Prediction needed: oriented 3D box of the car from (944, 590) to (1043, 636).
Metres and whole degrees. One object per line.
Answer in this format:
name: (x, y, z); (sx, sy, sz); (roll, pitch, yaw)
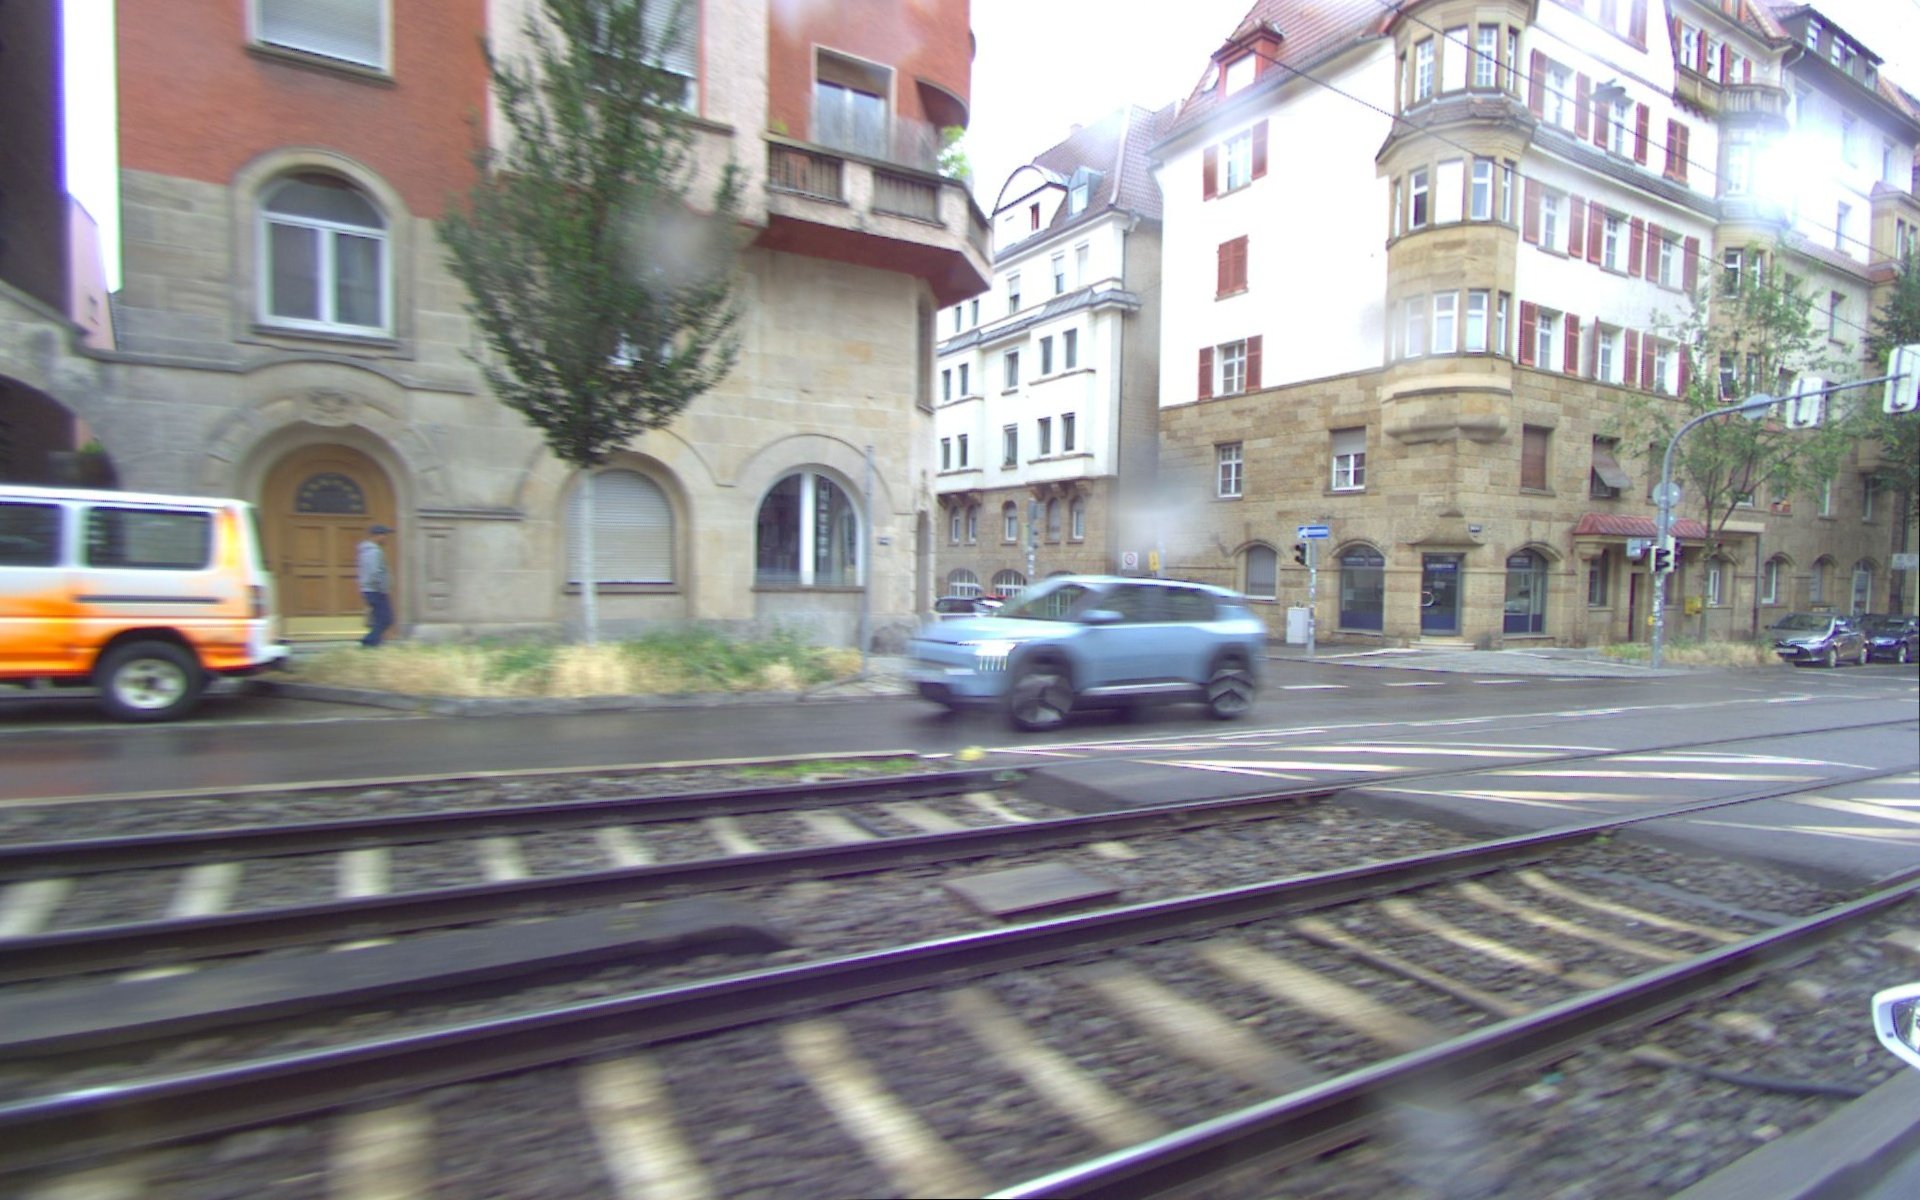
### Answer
car: (1.208, 0.462, 38.331); (1.976, 1.595, 3.968); (2, 0, -30)

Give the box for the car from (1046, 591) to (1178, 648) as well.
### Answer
car: (4.745, 0.587, 31.806); (1.979, 1.595, 3.963); (2, 0, -33)

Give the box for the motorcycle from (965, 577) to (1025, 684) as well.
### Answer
motorcycle: (0.492, 0.402, 14.270); (0.752, 1.393, 1.785); (2, 0, 1)

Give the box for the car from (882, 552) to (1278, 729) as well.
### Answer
car: (1.393, 0.424, 11.216); (4.084, 1.639, 1.910); (2, 0, -32)

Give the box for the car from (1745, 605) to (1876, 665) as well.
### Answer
car: (24.342, 1.012, 28.708); (4.130, 1.549, 1.680); (2, 0, -32)

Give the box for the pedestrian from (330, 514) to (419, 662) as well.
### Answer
pedestrian: (-7.301, -0.145, 12.546); (0.882, 1.743, 0.713); (2, 6, -30)

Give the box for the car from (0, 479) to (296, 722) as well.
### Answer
car: (-8.420, -0.024, 8.624); (4.427, 1.956, 1.718); (2, 0, -32)

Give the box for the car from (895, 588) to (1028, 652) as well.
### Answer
car: (-0.052, 0.496, 26.358); (1.726, 1.486, 3.968); (2, 0, -30)

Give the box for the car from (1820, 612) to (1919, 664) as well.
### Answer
car: (29.057, 1.199, 31.516); (4.924, 1.479, 1.771); (2, 0, -33)
